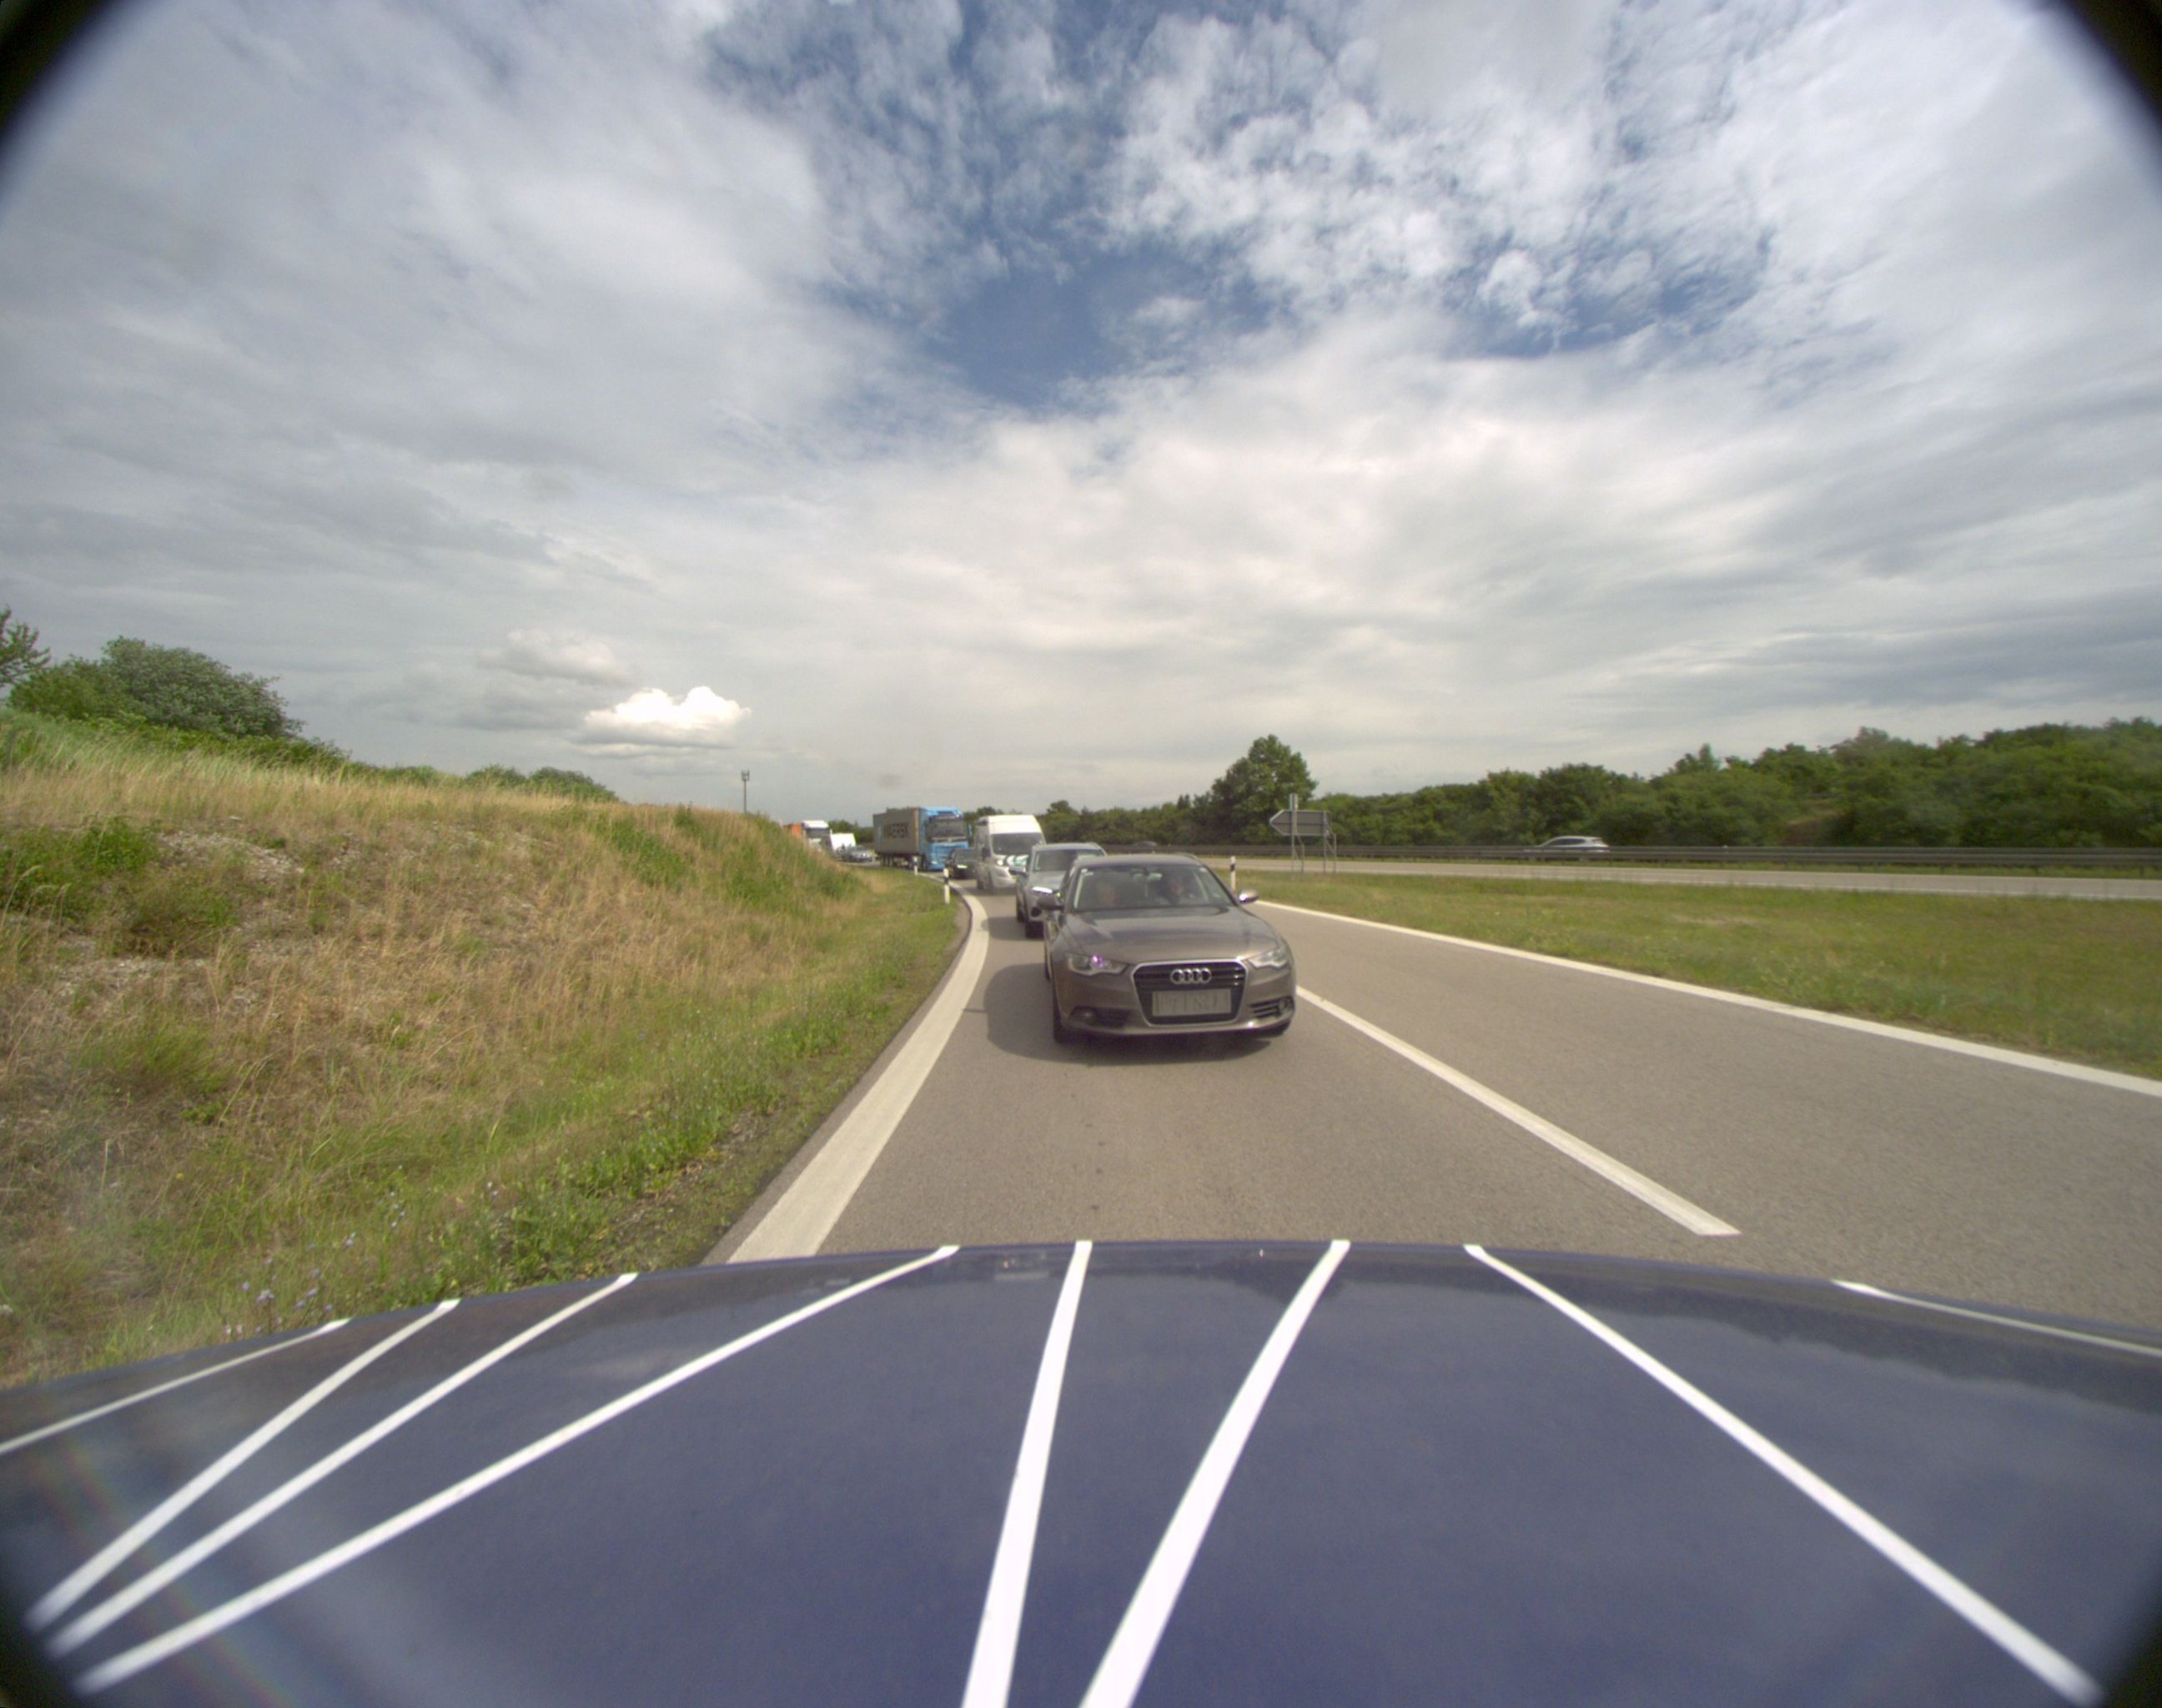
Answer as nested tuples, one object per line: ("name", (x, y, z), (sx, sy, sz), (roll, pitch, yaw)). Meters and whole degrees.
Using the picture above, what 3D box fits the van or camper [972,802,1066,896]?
("van or camper", (-2.337, -0.187, 26.737), (2.400, 2.892, 5.713), (-3, 1, -13))

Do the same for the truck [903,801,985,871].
("truck", (-8.741, -1.086, 47.764), (3.184, 4.050, 6.632), (-3, 1, -26))

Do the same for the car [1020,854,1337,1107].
("car", (0.584, 0.804, 7.134), (1.999, 1.506, 4.537), (-2, 1, -1))

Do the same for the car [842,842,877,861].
("car", (-19.248, -0.263, 65.983), (2.003, 1.521, 3.989), (-2, 3, -30))

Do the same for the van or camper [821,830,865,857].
("van or camper", (-22.388, -1.061, 71.383), (2.557, 2.200, 5.693), (-3, 5, -32))

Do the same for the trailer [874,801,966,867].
("trailer", (-11.708, -1.305, 53.884), (3.280, 4.137, 11.991), (-3, 1, -27))

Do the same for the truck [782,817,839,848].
("truck", (-30.213, -2.301, 84.431), (3.131, 3.220, 11.130), (-2, 2, -35))

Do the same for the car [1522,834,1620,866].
("car", (26.452, -0.239, 41.135), (2.004, 1.674, 3.989), (-1, 2, -37))

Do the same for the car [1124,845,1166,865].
("car", (6.362, 0.080, 76.038), (1.847, 1.862, 4.196), (-3, 1, -34))

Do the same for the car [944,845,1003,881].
("car", (-5.256, 0.380, 36.759), (2.002, 1.609, 3.992), (-1, 2, -20))

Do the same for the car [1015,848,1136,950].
("car", (-0.261, 0.706, 14.347), (1.843, 1.587, 4.170), (-1, 1, -6))
